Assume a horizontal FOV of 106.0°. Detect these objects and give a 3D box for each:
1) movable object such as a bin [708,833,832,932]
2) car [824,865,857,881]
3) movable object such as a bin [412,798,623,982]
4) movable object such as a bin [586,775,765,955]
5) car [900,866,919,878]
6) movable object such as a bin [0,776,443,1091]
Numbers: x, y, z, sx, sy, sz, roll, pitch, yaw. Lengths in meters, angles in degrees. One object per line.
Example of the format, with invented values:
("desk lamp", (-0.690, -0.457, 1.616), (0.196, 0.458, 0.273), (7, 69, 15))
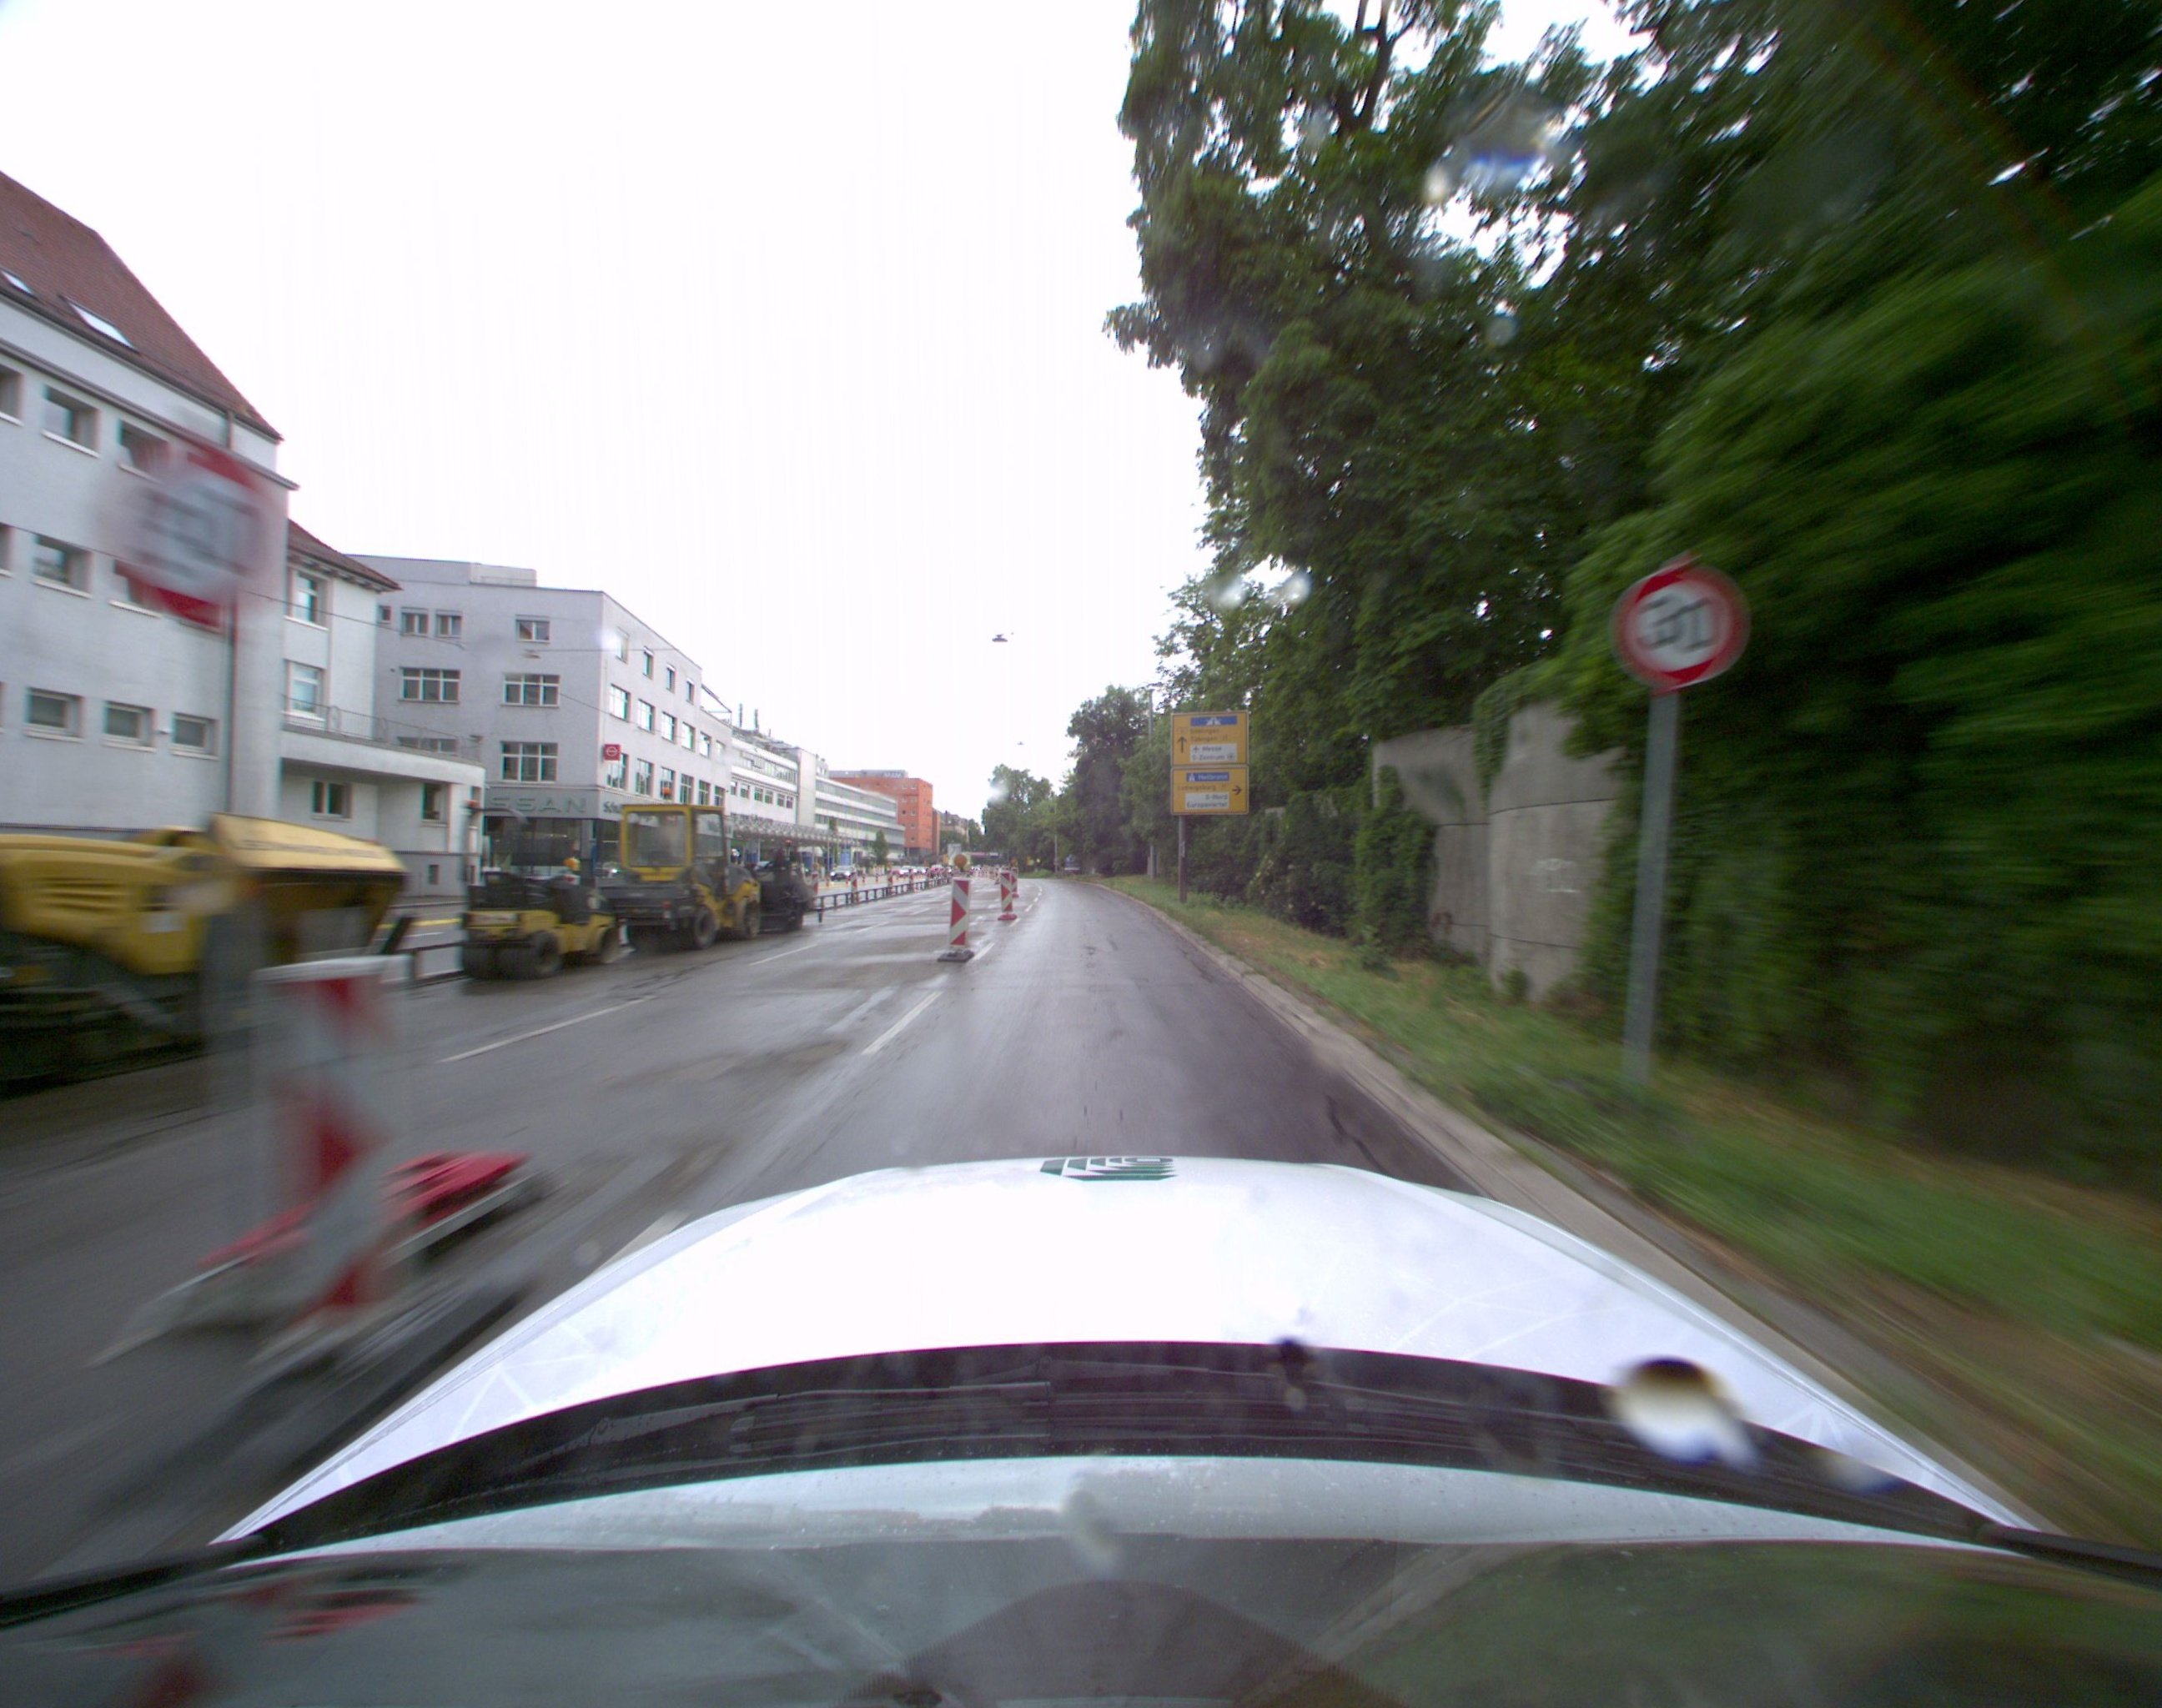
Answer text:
("movable object such as a bin", (-7.395, 0.641, 19.696), (1.710, 2.150, 3.348), (-1, -1, -1))
("car", (-21.978, 1.687, 74.511), (1.756, 1.406, 4.249), (0, -1, 0))
("movable object such as a bin", (-8.144, 0.479, 11.999), (1.406, 2.401, 2.405), (-1, -1, -1))
("movable object such as a bin", (-7.575, 0.200, 15.629), (1.460, 3.008, 3.725), (-1, -1, 1))
("car", (-21.571, 2.284, 102.477), (1.776, 1.381, 4.448), (-1, -1, -5))
("movable object such as a bin", (-7.799, 0.533, 6.440), (1.357, 2.090, 5.033), (0, 0, 2))
